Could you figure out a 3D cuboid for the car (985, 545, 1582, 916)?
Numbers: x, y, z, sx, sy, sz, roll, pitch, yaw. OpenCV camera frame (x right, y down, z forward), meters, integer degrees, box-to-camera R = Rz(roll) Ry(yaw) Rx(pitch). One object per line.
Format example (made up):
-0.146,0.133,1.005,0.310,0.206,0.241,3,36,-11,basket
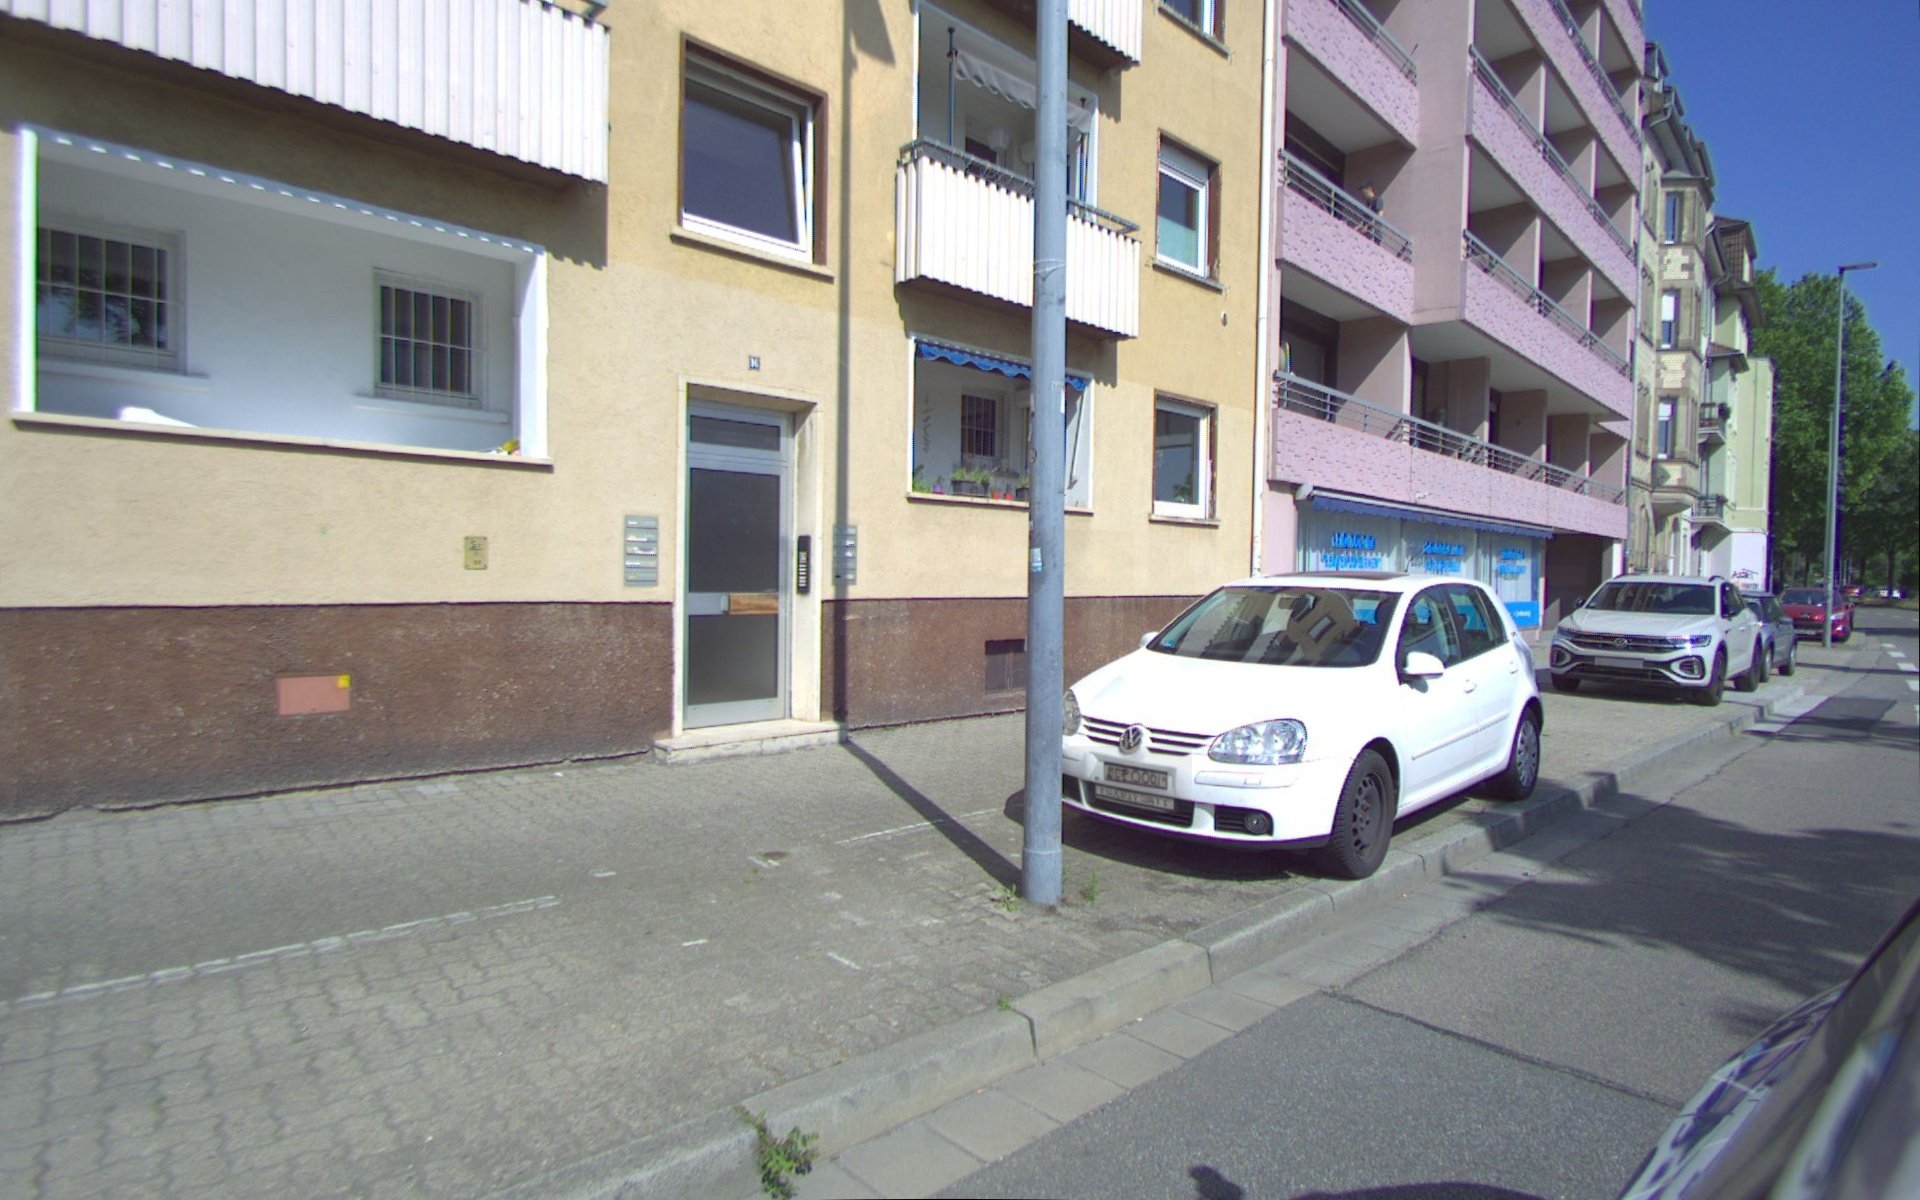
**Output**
2.218,0.507,6.244,4.059,1.524,1.758,0,3,-44,car

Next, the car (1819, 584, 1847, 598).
110.406,-1.113,127.971,1.908,1.684,4.266,1,1,30,car

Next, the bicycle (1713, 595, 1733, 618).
34.261,0.283,45.450,0.607,0.957,2.084,2,2,40,bicycle

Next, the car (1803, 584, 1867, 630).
32.209,0.212,37.276,1.641,1.519,3.951,4,4,41,car

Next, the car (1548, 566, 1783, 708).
9.538,0.381,13.536,4.281,1.560,1.738,0,3,-44,car

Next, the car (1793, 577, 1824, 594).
104.589,-1.823,124.815,1.981,1.914,3.962,2,2,27,car

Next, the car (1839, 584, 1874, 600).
100.000,-0.910,112.930,1.784,1.538,3.932,3,3,24,car

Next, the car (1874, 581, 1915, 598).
95.999,-1.105,104.015,1.852,1.470,4.167,4,3,26,car

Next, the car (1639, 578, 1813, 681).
12.670,0.425,16.680,3.373,1.425,1.681,0,4,-43,car

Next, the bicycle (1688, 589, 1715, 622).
27.778,0.186,37.917,0.654,1.160,1.603,5,4,39,bicycle

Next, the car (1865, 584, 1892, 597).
108.090,-1.152,119.132,1.668,1.487,3.537,2,2,31,car

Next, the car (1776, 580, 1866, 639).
25.073,0.223,29.433,1.785,1.500,3.939,5,4,42,car

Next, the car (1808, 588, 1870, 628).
35.243,0.269,40.617,1.739,1.433,4.021,4,4,41,car
